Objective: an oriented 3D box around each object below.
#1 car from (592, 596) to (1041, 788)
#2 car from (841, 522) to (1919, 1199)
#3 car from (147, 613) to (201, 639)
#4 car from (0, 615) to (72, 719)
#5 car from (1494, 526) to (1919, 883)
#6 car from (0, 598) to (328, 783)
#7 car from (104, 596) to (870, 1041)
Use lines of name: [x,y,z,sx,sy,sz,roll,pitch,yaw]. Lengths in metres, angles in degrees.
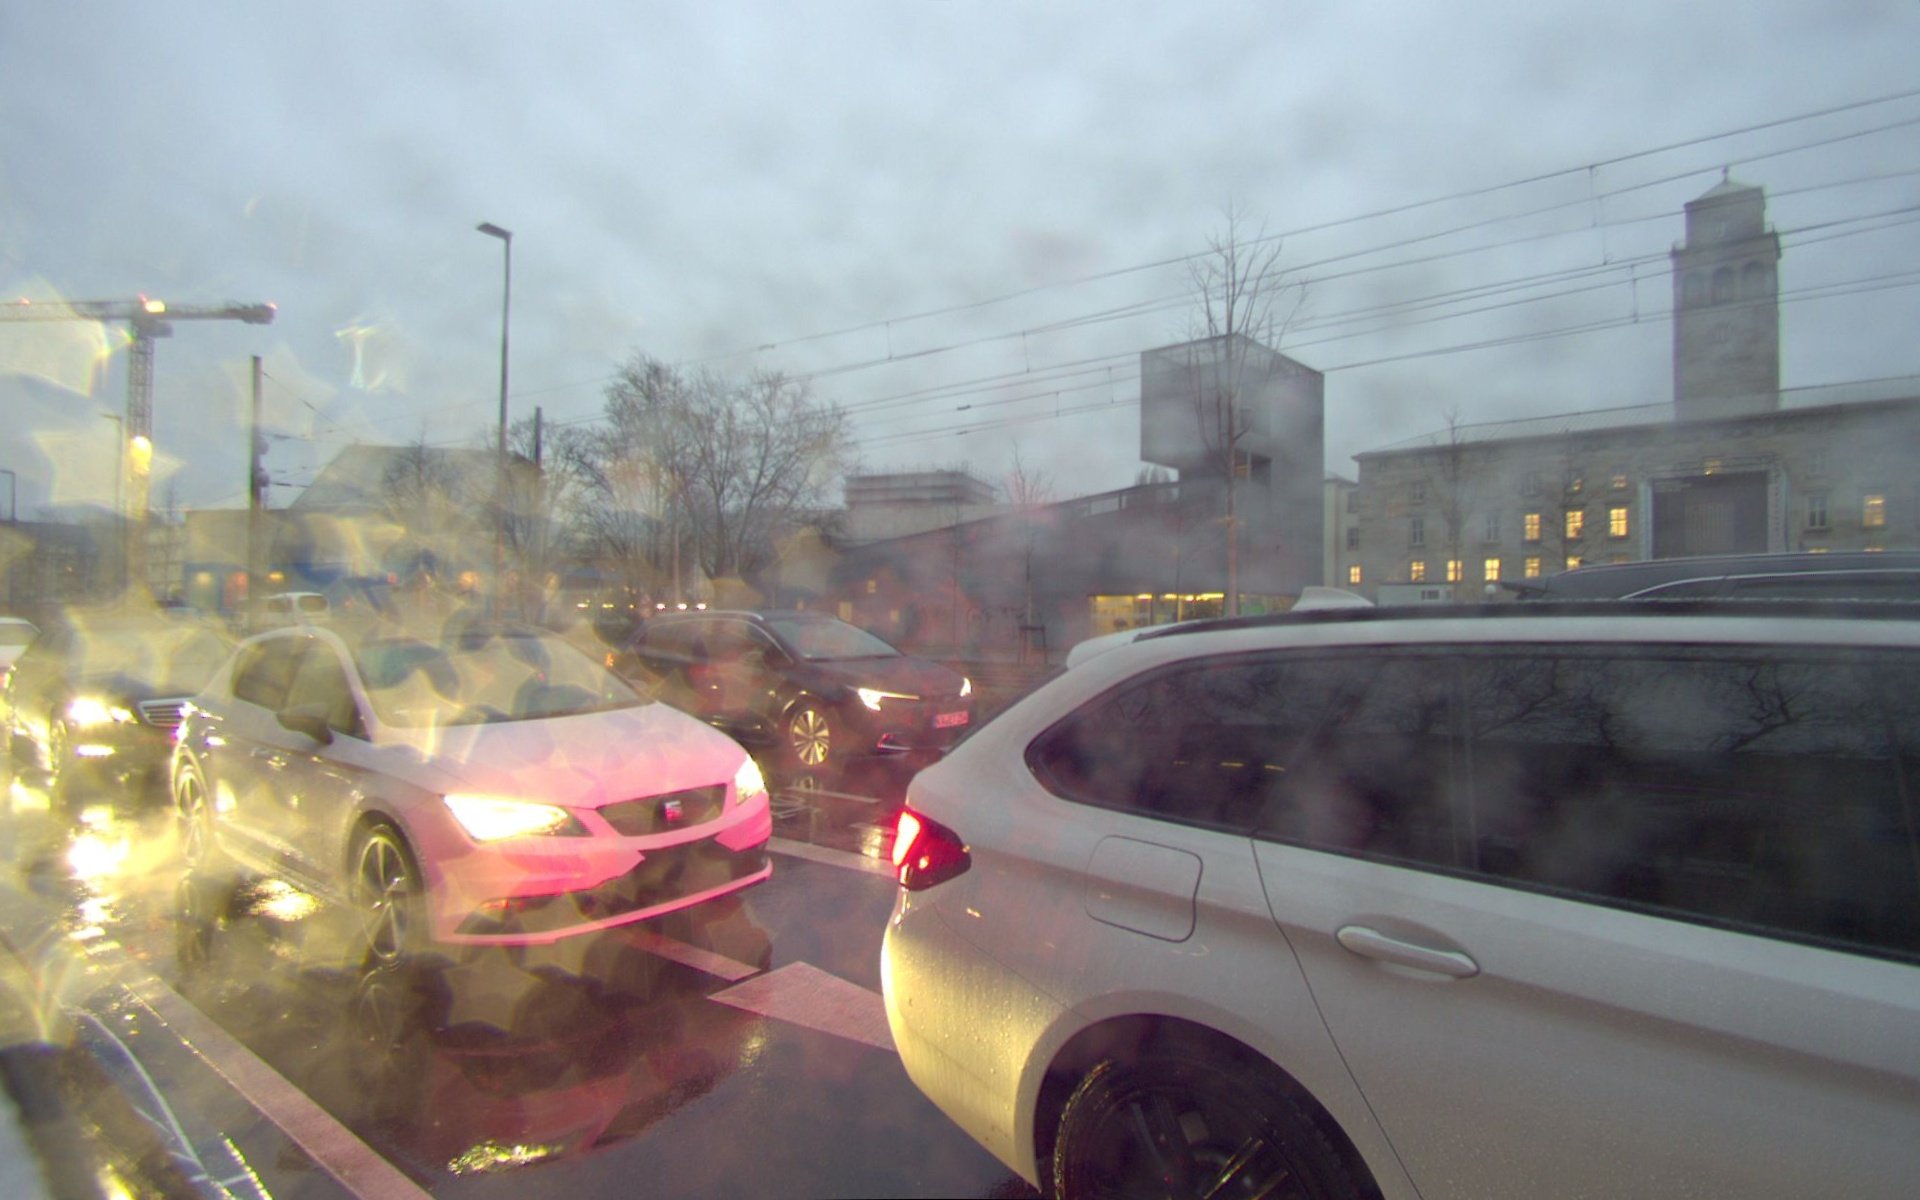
car: [-1.614,0.752,10.209,4.659,1.519,1.830,0,-1,39]
car: [2.092,0.672,1.638,4.557,1.498,1.996,-1,-2,41]
car: [-60.297,1.991,77.650,3.989,1.910,2.072,-1,-2,34]
car: [-16.432,1.065,16.922,3.998,1.586,1.882,-1,0,41]
car: [5.241,0.474,4.983,4.289,1.596,1.946,-1,-1,42]
car: [-8.453,0.787,10.413,4.501,1.498,1.974,-1,-2,39]
car: [-2.819,0.770,5.566,4.497,1.498,1.926,-1,0,37]
